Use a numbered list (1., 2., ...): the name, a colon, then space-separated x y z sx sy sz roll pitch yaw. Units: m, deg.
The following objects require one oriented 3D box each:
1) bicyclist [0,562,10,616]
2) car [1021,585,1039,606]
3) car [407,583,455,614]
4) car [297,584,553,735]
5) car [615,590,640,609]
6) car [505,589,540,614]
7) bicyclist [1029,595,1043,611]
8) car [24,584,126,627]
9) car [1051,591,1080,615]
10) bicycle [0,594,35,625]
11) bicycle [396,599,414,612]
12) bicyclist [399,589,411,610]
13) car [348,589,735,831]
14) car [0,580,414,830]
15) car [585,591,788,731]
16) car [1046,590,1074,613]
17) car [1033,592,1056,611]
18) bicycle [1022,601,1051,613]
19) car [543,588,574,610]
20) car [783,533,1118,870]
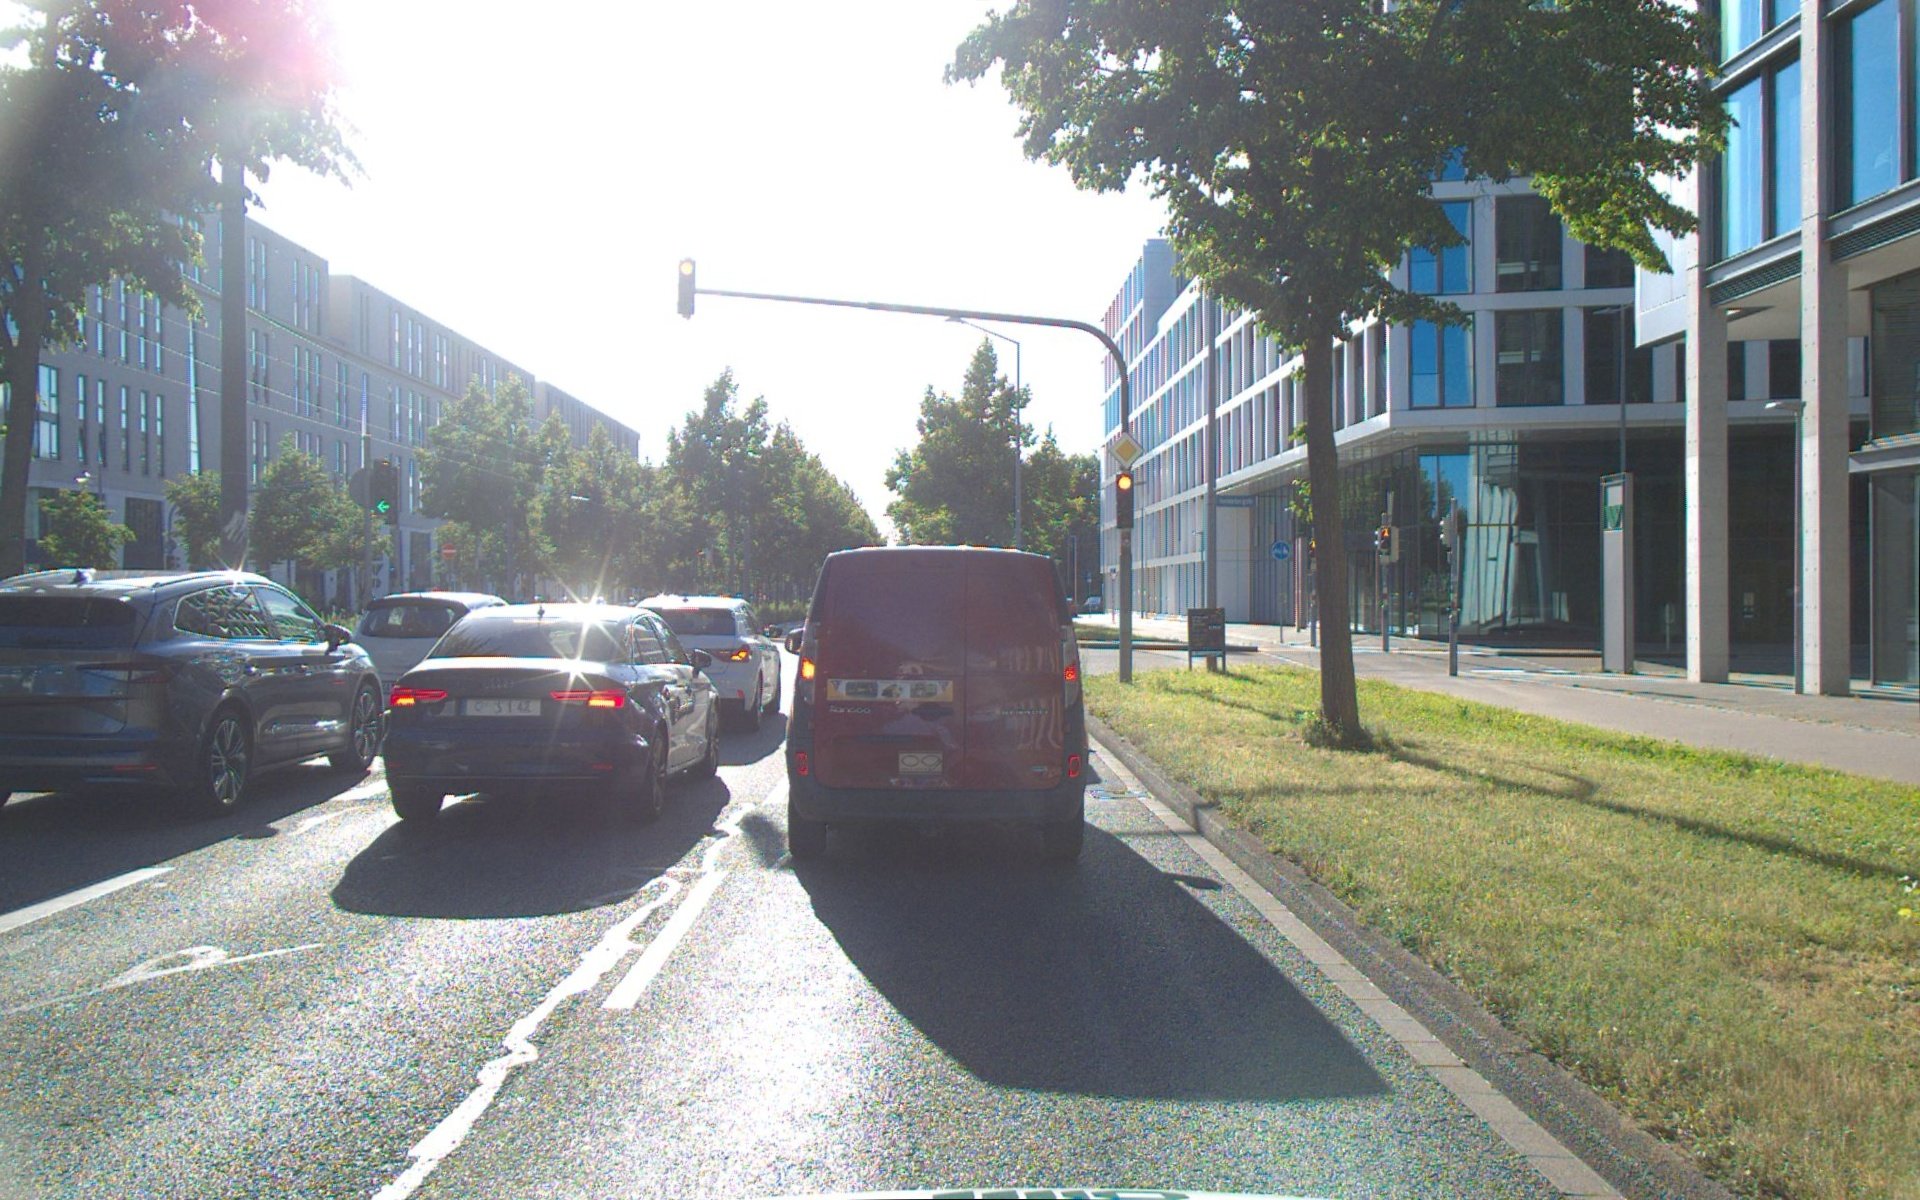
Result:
1. bicyclist: -38.162 -0.430 65.231 0.921 2.129 0.817 0 0 -1
2. car: 8.433 -0.572 200.102 1.953 2.540 4.986 0 0 -1
3. car: -35.378 -0.087 110.721 1.953 2.049 3.999 0 0 -1
4. car: -6.243 0.625 19.869 1.763 1.509 4.565 3 0 -4
5. car: -36.855 -0.027 183.464 1.953 2.049 3.999 0 0 -1
6. car: -36.354 0.091 137.556 1.953 2.049 3.999 0 0 -1
7. bicyclist: 7.039 0.253 152.592 0.966 1.462 0.948 0 0 33
8. car: -33.262 0.175 62.266 1.729 1.546 3.999 0 0 -1
9. car: 8.224 0.219 129.751 1.953 1.813 3.999 0 0 -1
10. bicycle: -38.152 0.371 65.220 2.882 1.211 0.817 0 0 -1
11. bicycle: -41.192 0.402 122.720 0.663 1.005 1.956 0 0 -1
12. bicyclist: -41.196 -0.067 122.832 0.663 1.556 0.714 0 0 -1
13. car: -2.815 0.648 12.137 1.804 1.451 4.338 0 0 -1
14. car: -5.574 0.646 12.099 1.763 1.473 4.567 0 -1 -2
15. car: -3.044 0.625 19.142 1.767 1.451 3.900 0 0 -1
16. car: 8.099 0.094 134.677 1.953 1.813 3.999 0 0 -1
17. car: 8.300 0.175 162.381 1.953 1.813 3.999 0 0 -1
18. bicycle: 7.079 0.630 152.559 2.590 1.125 0.948 0 0 34
19. car: -36.484 -0.103 150.384 1.953 2.049 3.999 0 0 -1
20. car: -0.080 0.534 10.917 1.804 1.812 3.999 0 0 -1
